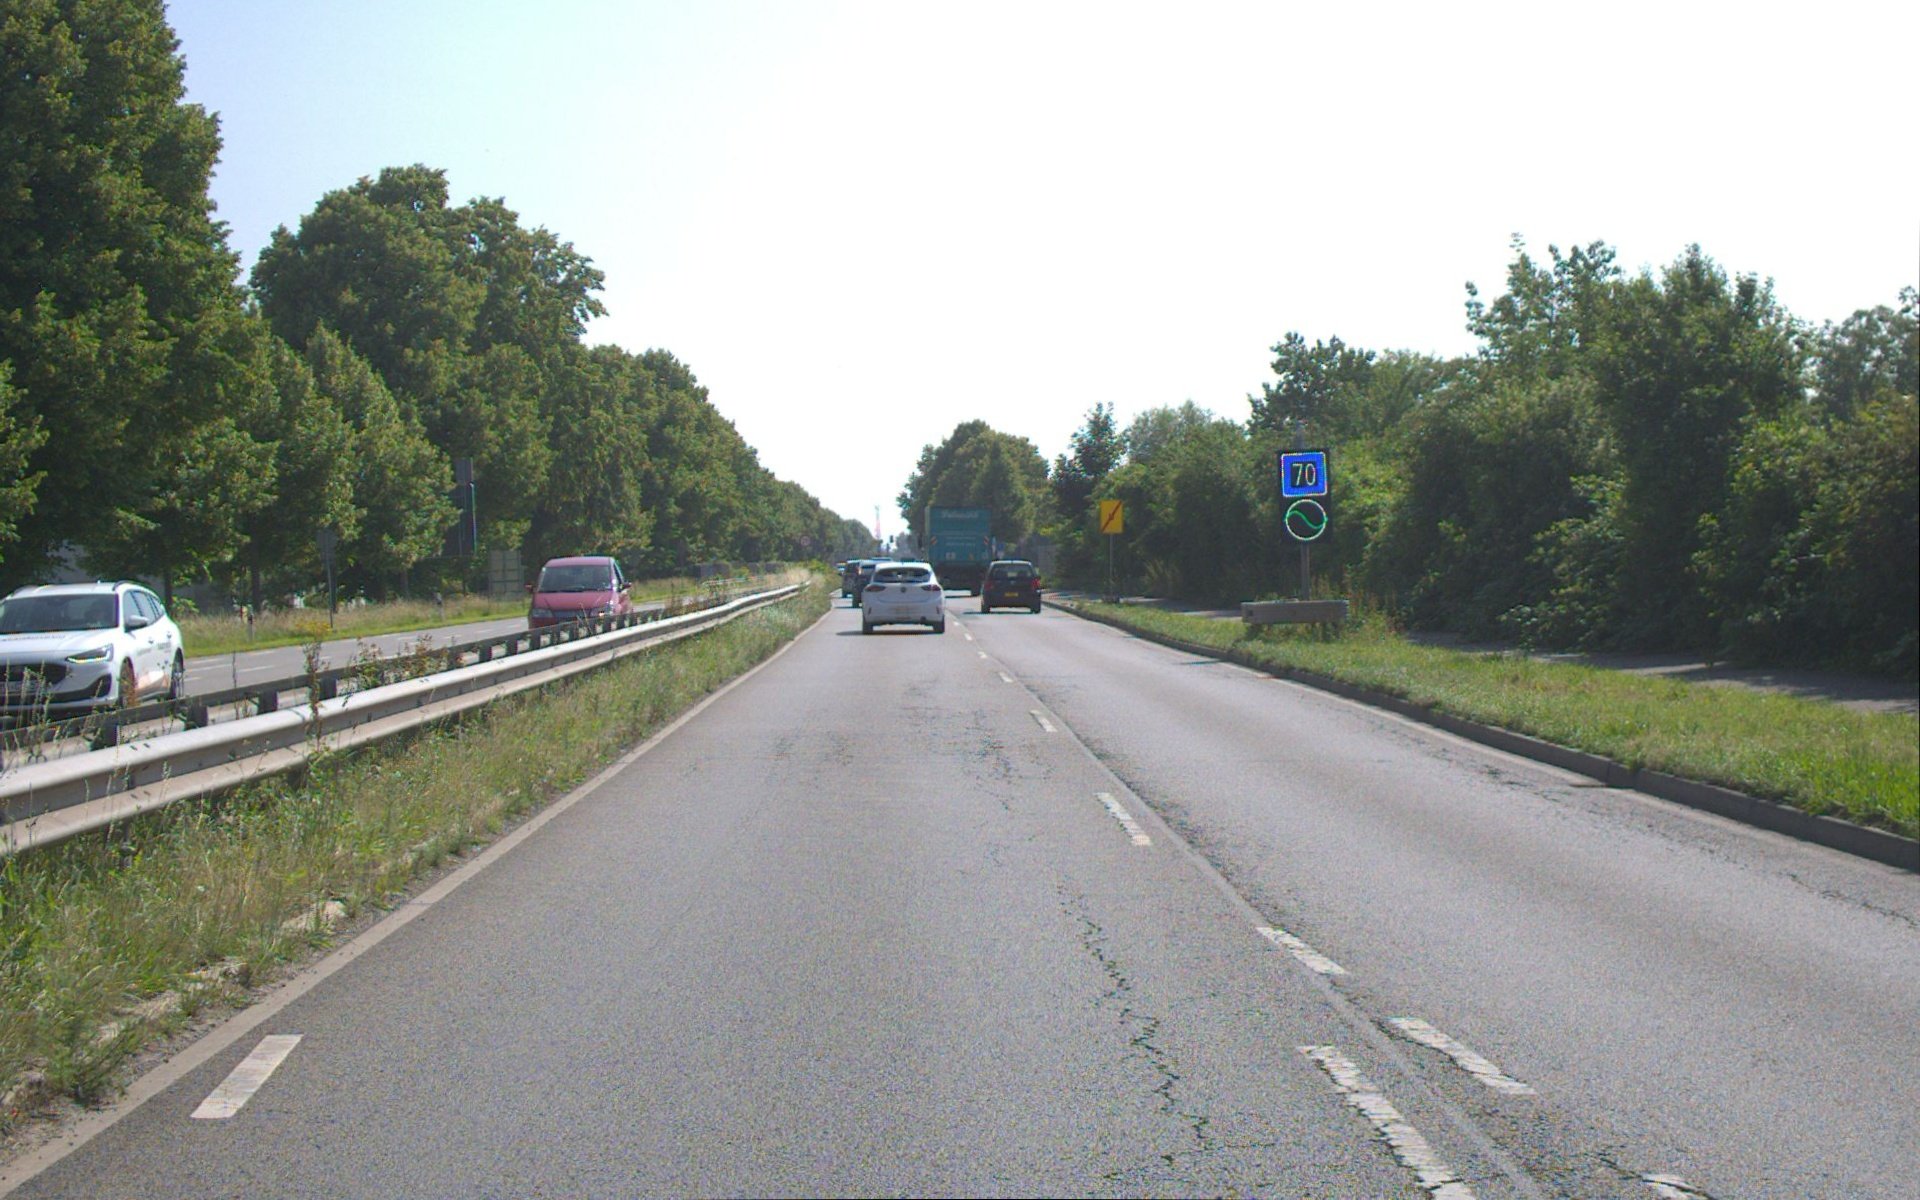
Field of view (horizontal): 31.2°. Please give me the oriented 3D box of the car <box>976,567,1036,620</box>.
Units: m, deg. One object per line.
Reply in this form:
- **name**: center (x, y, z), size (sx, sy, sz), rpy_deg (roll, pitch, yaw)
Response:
- **car**: center (1.253, -0.173, 95.374), size (1.572, 1.410, 3.277), rpy_deg (-1, 0, 0)

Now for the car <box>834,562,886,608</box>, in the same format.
- **car**: center (-3.219, -0.499, 111.075), size (1.572, 1.409, 3.278), rpy_deg (-2, 1, 0)

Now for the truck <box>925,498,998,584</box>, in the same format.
- **truck**: center (0.034, -2.506, 145.790), size (2.891, 3.417, 9.169), rpy_deg (-2, 1, 0)

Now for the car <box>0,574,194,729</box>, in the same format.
- **car**: center (-9.644, 0.521, 36.905), size (1.993, 1.497, 4.091), rpy_deg (-2, 1, -2)

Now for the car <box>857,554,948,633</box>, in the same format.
- **car**: center (-1.165, -0.153, 71.732), size (1.798, 1.547, 4.000), rpy_deg (-1, 1, 0)

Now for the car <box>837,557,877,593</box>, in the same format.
- **car**: center (-4.359, -1.065, 145.666), size (1.572, 1.409, 3.278), rpy_deg (-2, 1, 0)

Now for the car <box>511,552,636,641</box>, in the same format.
- **car**: center (-7.012, -0.083, 62.743), size (1.912, 1.497, 4.091), rpy_deg (-2, 1, -2)
